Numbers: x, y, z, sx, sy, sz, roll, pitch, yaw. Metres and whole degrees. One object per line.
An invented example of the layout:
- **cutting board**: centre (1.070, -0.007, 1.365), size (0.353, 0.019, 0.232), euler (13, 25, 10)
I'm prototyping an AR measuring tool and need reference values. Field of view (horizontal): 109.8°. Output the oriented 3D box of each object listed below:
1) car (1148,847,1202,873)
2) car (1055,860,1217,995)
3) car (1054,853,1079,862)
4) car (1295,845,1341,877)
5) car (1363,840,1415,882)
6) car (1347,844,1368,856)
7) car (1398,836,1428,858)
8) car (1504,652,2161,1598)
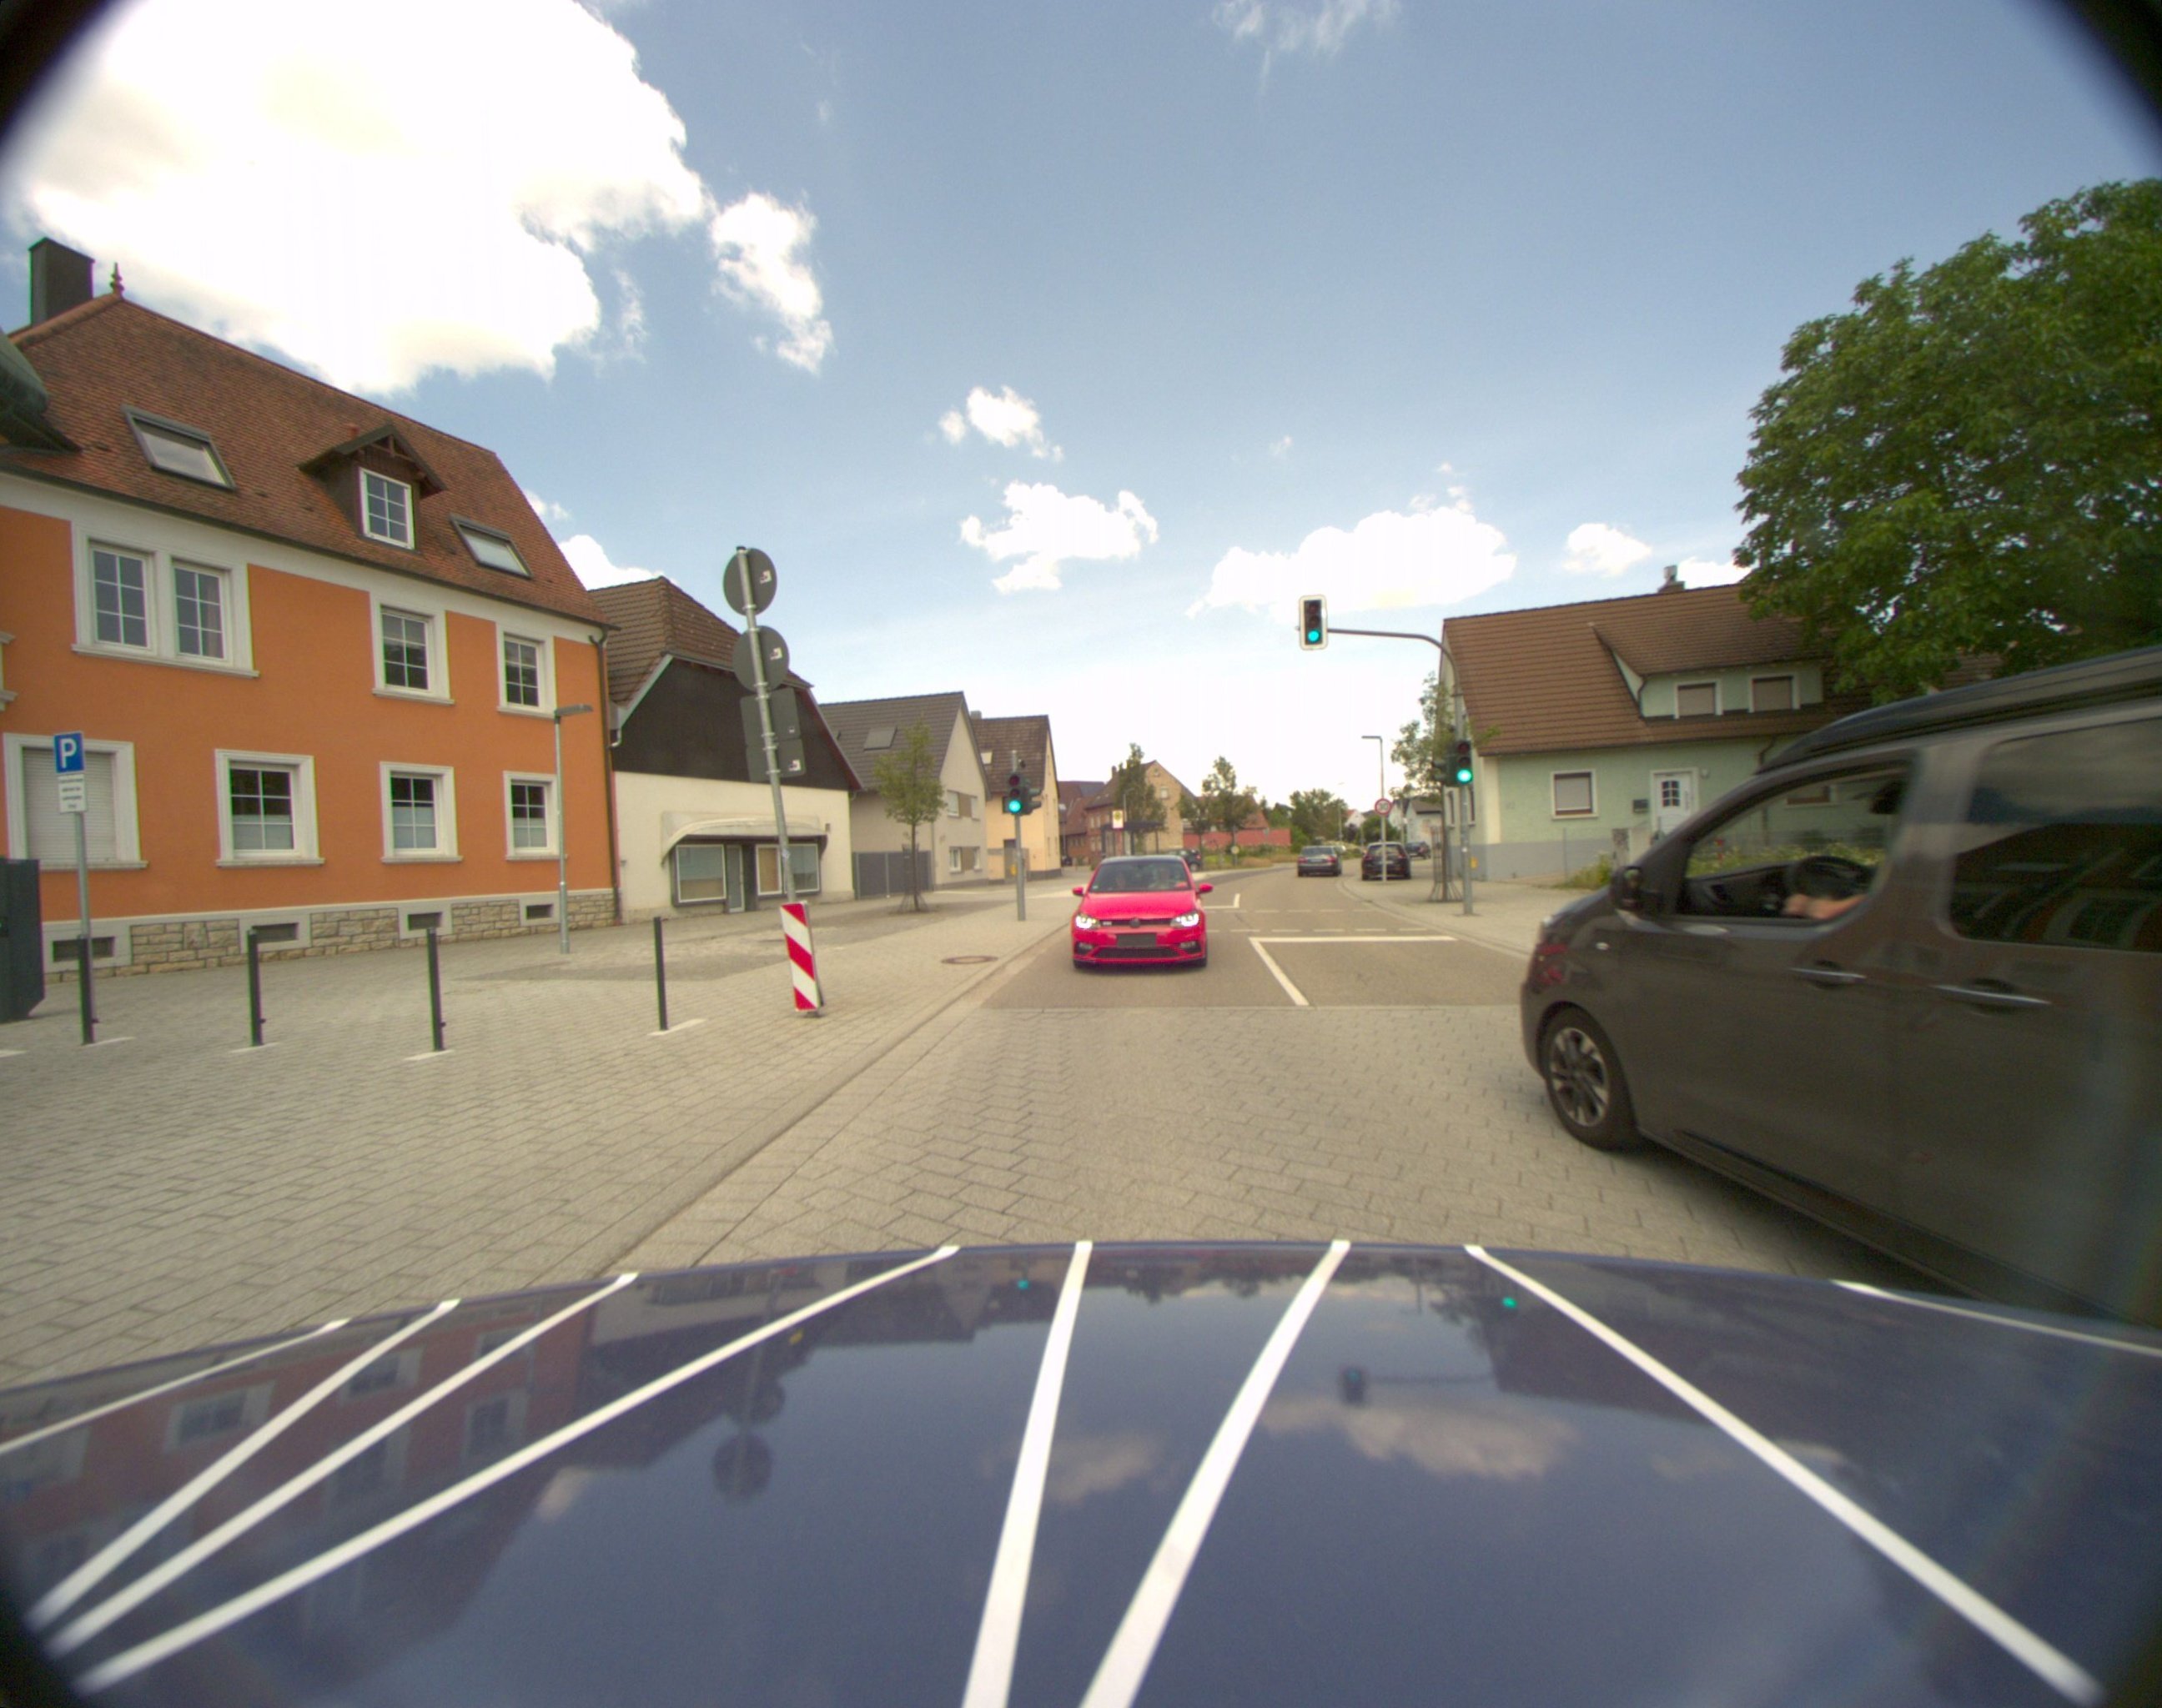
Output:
- **car**: centre (6.443, 0.386, 51.999), size (3.544, 1.583, 1.667), euler (-3, 0, 10)
- **car**: centre (0.600, 0.846, 10.512), size (1.782, 1.403, 3.887), euler (-2, 0, -1)
- **car**: centre (-1.936, 0.470, 97.763), size (1.805, 1.053, 3.992), euler (-3, 0, -23)
- **car**: centre (11.502, 0.293, 36.660), size (1.886, 1.426, 4.602), euler (-1, 0, 20)
- **car**: centre (12.257, 0.247, 30.356), size (1.734, 1.482, 4.506), euler (-2, 1, 21)
- **car**: centre (28.573, -0.409, 78.509), size (1.995, 1.182, 4.005), euler (-1, 1, 20)
- **car**: centre (24.856, -0.555, 56.871), size (1.656, 1.566, 3.698), euler (-2, 1, 29)
- **car**: centre (3.272, 0.548, 1.790), size (1.998, 2.002, 4.740), euler (-2, 0, 2)
